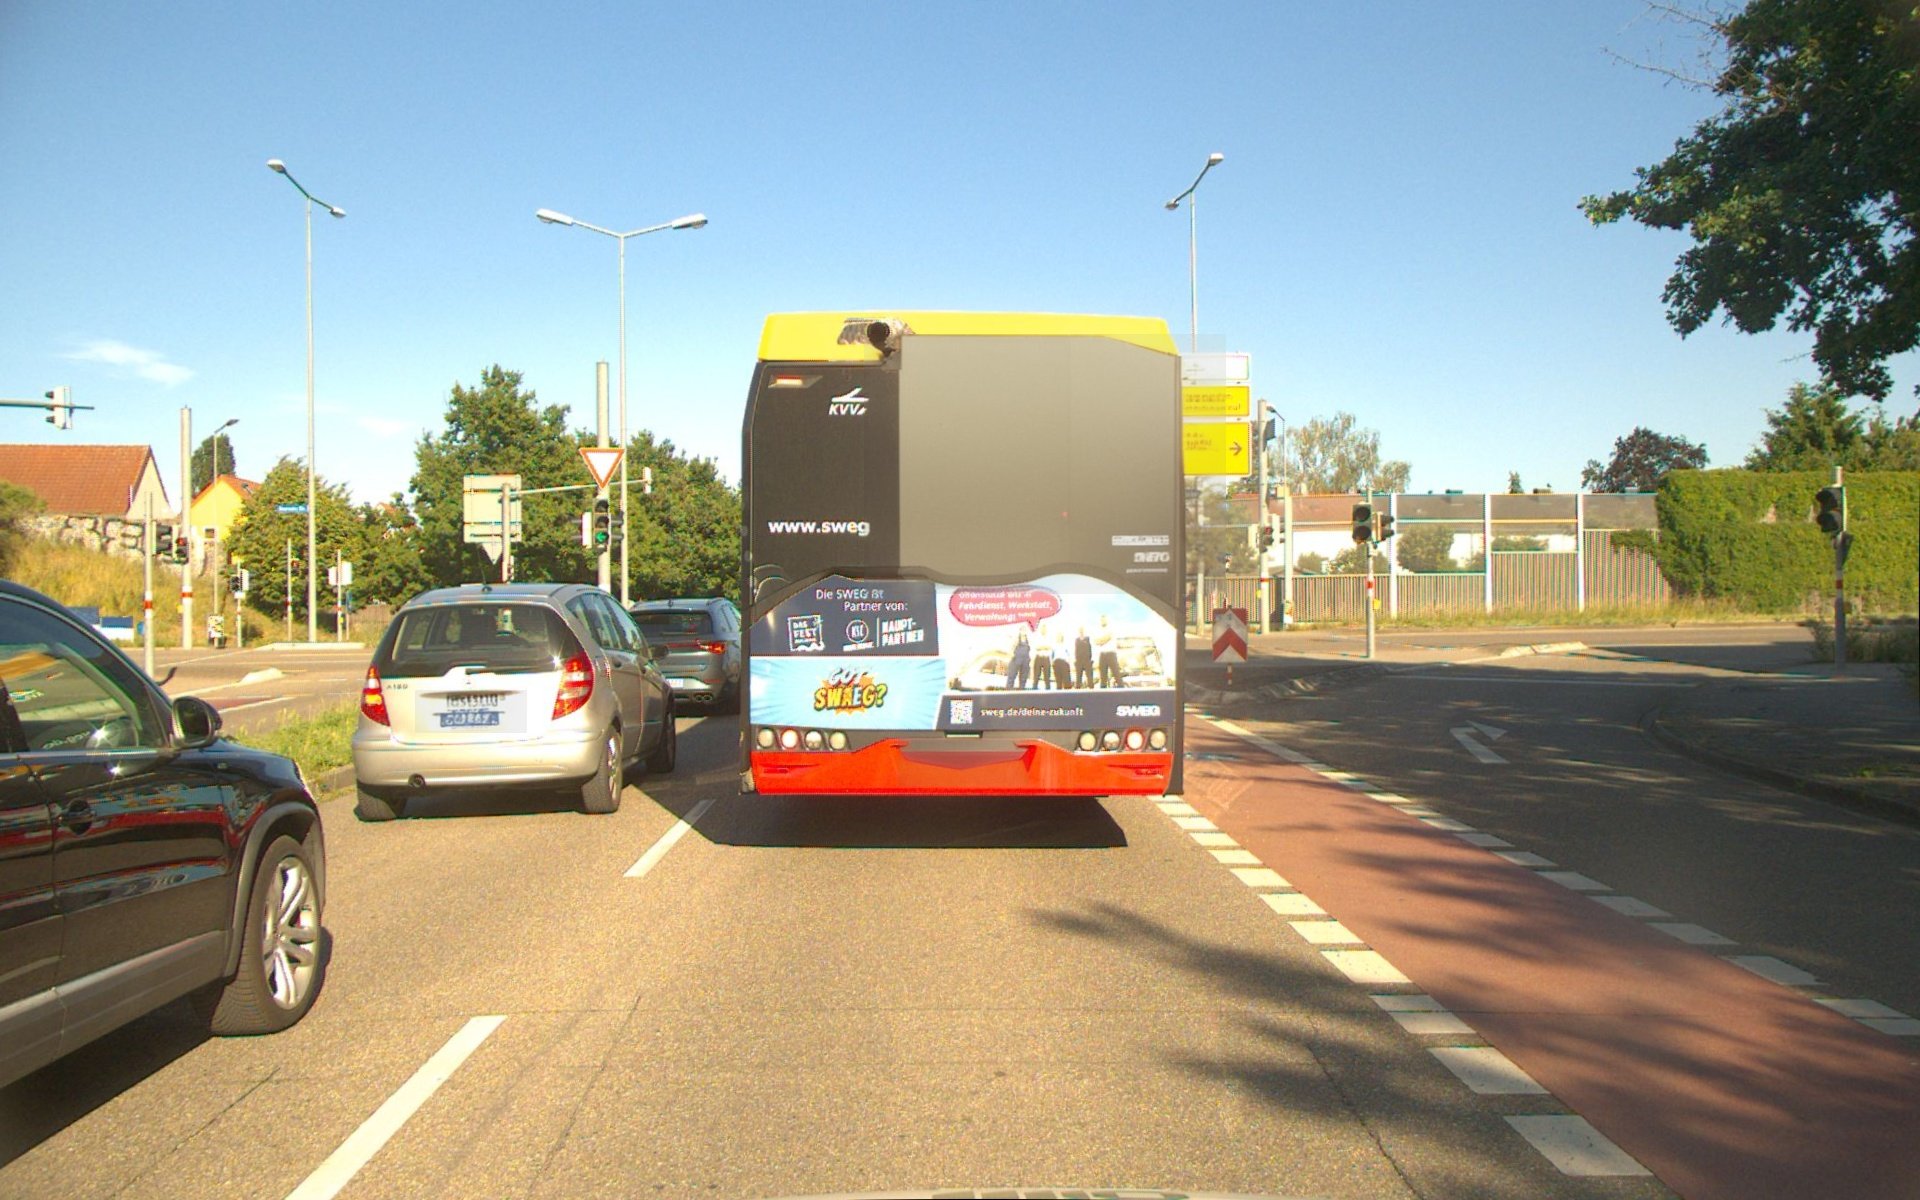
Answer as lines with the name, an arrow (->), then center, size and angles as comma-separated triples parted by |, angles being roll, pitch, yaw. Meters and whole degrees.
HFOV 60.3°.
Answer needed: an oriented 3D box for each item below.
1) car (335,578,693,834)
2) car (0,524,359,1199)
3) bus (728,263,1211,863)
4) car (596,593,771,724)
car -> -3.236, 0.682, 12.818 | 1.725, 1.617, 3.999 | -2, 0, -1
car -> -3.148, 0.690, 4.299 | 1.736, 1.682, 3.999 | -2, 0, -1
bus -> 0.017, -0.250, 14.889 | 2.589, 3.222, 11.860 | 0, 0, 0
car -> -3.460, 0.679, 21.292 | 1.658, 1.484, 3.750 | -2, 0, -1
